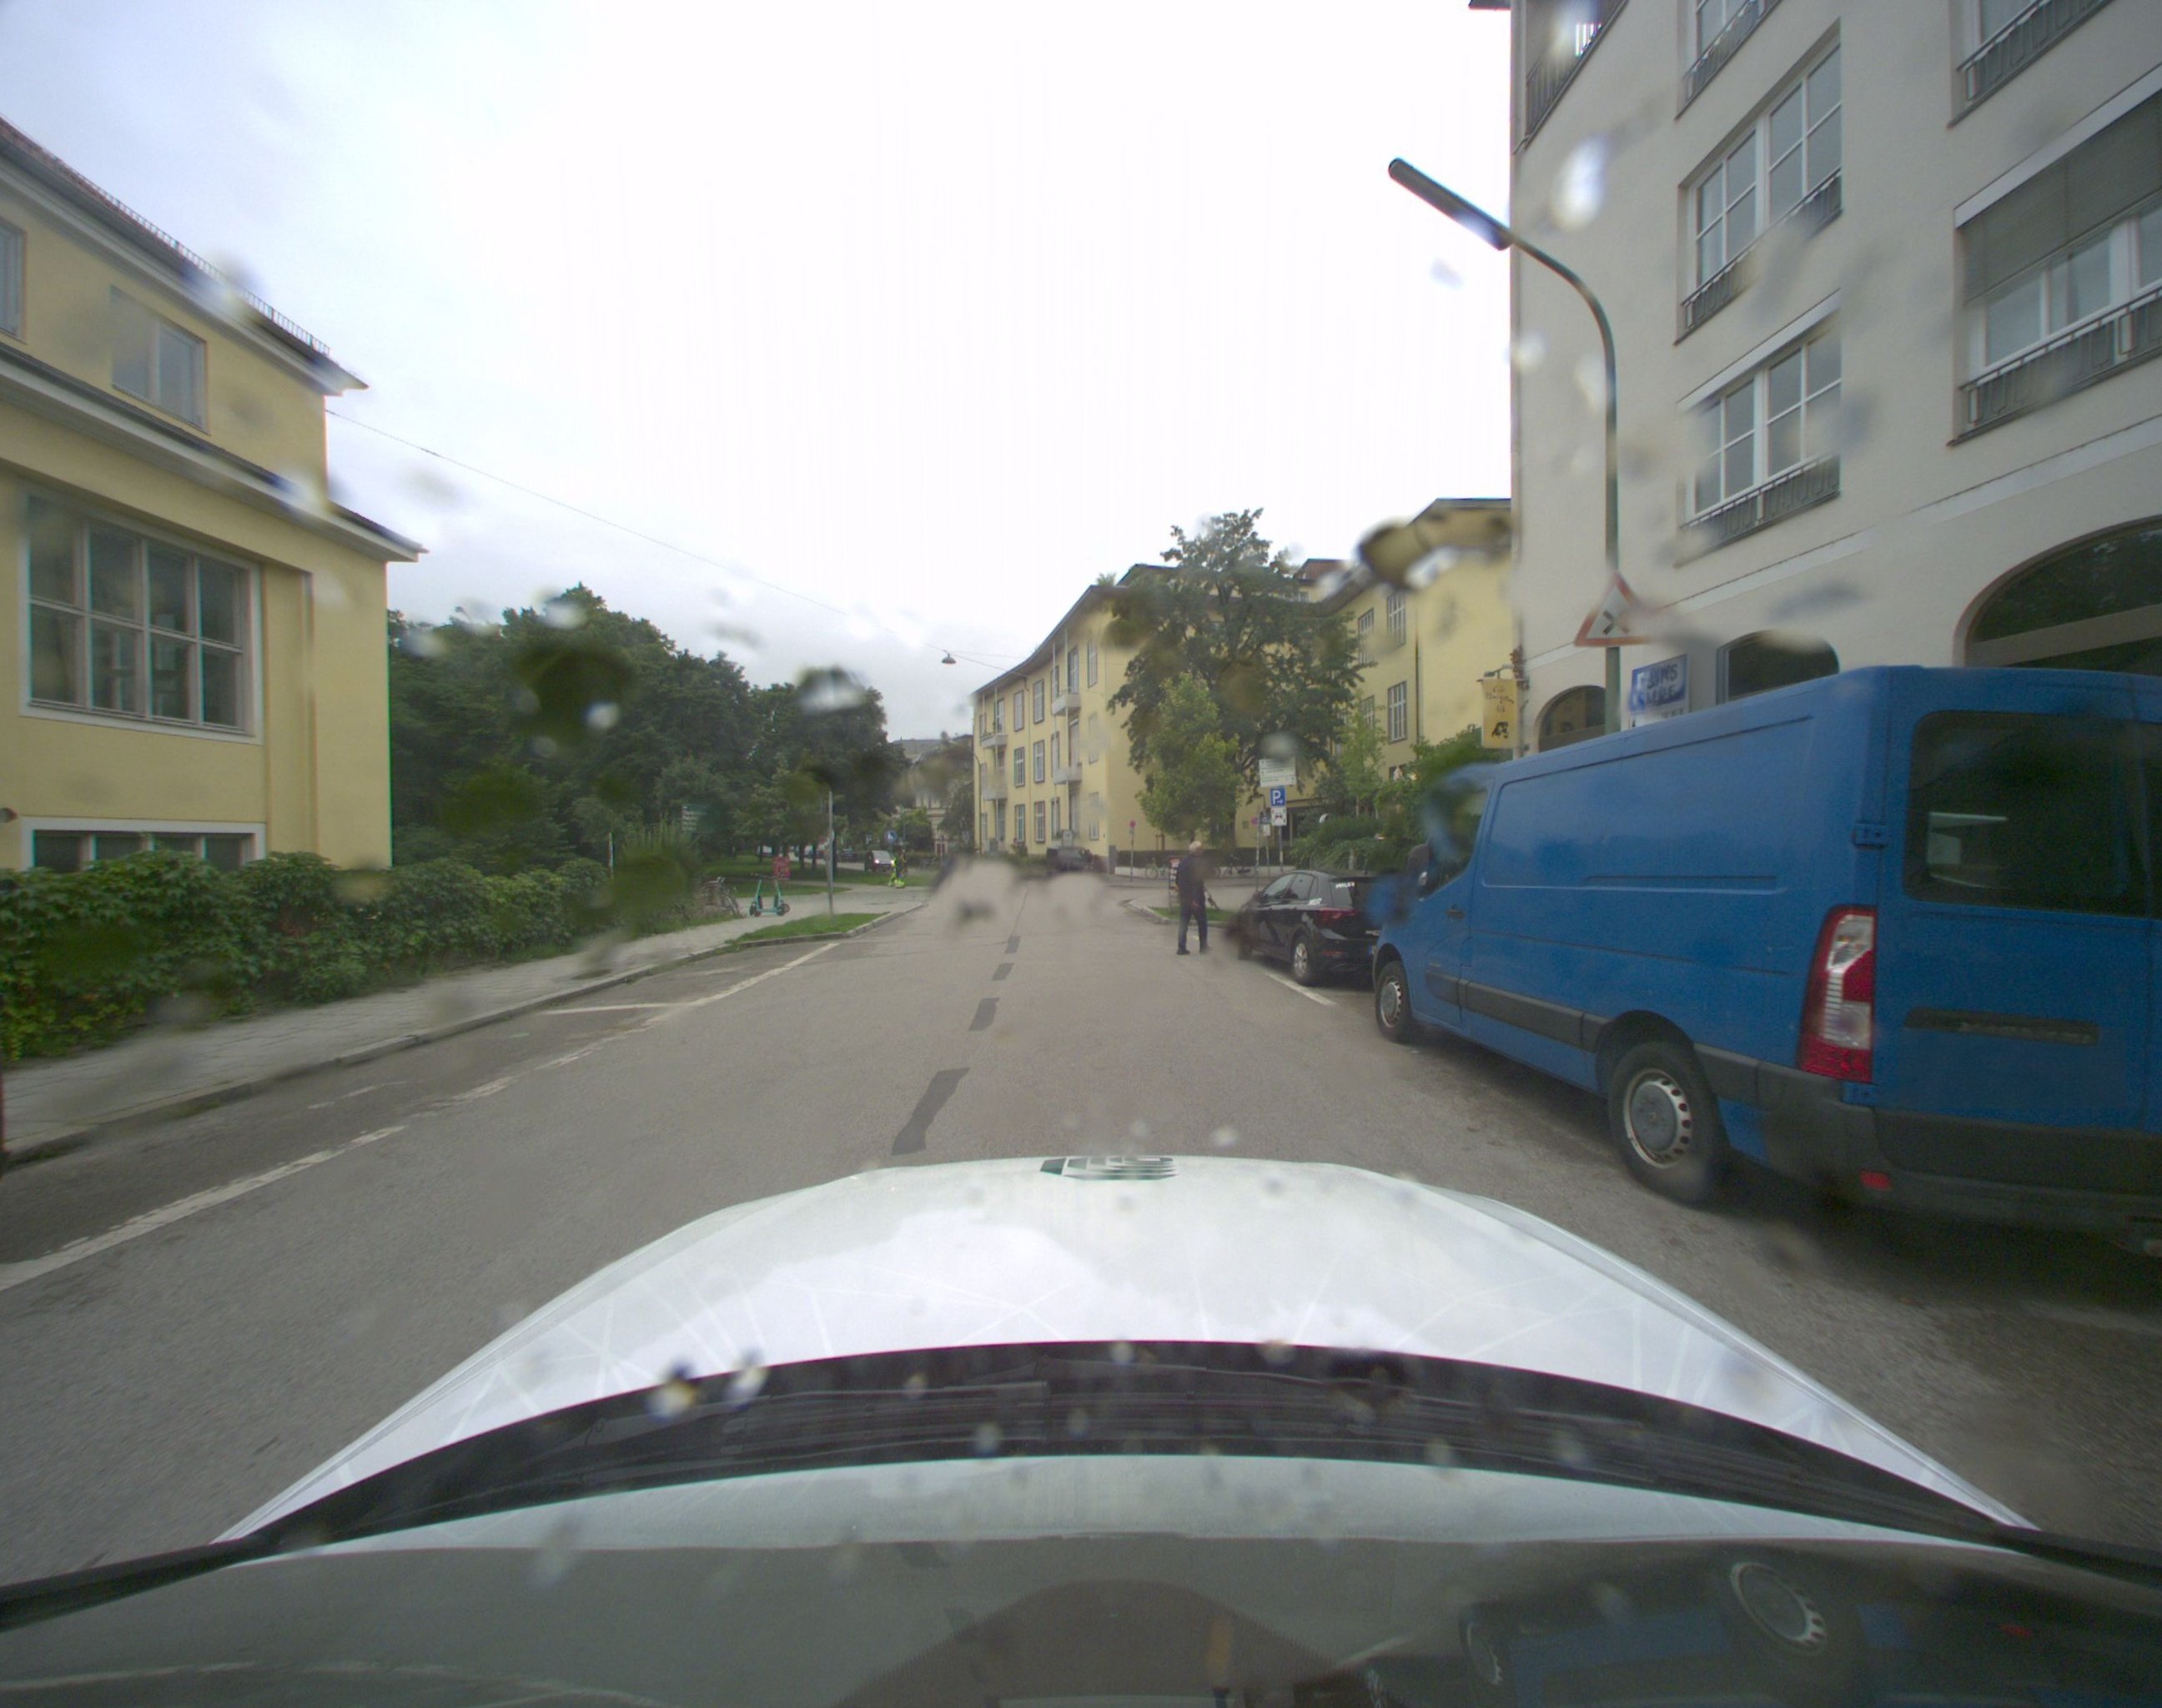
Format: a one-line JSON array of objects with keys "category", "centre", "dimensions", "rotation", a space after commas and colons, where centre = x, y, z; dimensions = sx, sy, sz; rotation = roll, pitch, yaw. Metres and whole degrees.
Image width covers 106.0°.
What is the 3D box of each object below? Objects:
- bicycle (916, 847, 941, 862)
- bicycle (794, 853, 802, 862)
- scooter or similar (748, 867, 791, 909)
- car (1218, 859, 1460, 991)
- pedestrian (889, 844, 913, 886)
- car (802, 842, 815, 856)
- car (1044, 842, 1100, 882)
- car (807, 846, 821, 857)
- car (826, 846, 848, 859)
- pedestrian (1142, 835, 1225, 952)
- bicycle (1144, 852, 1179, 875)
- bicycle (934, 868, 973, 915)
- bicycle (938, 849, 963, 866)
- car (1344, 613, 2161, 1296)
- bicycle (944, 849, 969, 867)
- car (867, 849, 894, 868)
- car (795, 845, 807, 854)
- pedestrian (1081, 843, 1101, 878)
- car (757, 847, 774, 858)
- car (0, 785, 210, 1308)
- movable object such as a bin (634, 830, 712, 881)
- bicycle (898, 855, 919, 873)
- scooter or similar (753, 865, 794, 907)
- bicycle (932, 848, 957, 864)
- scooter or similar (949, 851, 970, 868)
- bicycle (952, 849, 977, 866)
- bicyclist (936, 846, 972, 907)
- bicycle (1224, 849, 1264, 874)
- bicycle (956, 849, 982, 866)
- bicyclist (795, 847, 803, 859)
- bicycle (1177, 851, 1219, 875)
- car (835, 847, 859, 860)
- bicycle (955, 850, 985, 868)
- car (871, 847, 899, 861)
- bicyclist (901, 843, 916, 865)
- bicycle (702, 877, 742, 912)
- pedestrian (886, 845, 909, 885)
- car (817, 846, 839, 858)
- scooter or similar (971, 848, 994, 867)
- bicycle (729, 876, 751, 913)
[{"category": "bicycle", "centre": [-13.626, 0.039, 72.732], "dimensions": [2.156, 1.305, 0.729], "rotation": [-1, 1, -20]}, {"category": "bicycle", "centre": [-35.119, 0.433, 101.162], "dimensions": [0.643, 0.967, 1.978], "rotation": [-1, 1, -27]}, {"category": "scooter or similar", "centre": [-9.006, 0.981, 23.520], "dimensions": [1.109, 1.188, 0.346], "rotation": [0, 1, 7]}, {"category": "car", "centre": [3.369, 0.845, 11.589], "dimensions": [1.675, 1.389, 4.297], "rotation": [3, 0, -6]}, {"category": "pedestrian", "centre": [-8.859, 0.540, 40.112], "dimensions": [0.928, 2.013, 0.957], "rotation": [-1, 1, 1]}, {"category": "car", "centre": [-45.206, -0.795, 134.980], "dimensions": [2.000, 2.159, 3.973], "rotation": [-1, 0, -20]}, {"category": "car", "centre": [-0.548, 0.364, 42.566], "dimensions": [1.766, 1.874, 4.356], "rotation": [3, 0, -16]}, {"category": "car", "centre": [-41.506, -0.406, 126.624], "dimensions": [2.000, 1.606, 3.973], "rotation": [-1, 0, -20]}, {"category": "car", "centre": [-32.369, -0.164, 107.988], "dimensions": [2.006, 1.606, 3.962], "rotation": [-1, 0, -29]}, {"category": "pedestrian", "centre": [1.669, 0.608, 13.244], "dimensions": [0.962, 1.800, 0.924], "rotation": [-1, 0, -40]}, {"category": "bicycle", "centre": [4.250, 0.501, 43.062], "dimensions": [1.904, 1.201, 0.599], "rotation": [0, 1, 43]}, {"category": "bicycle", "centre": [-3.415, 0.994, 21.984], "dimensions": [0.667, 1.158, 2.004], "rotation": [-1, 0, 2]}, {"category": "bicycle", "centre": [-10.428, 0.280, 65.267], "dimensions": [0.725, 1.305, 2.170], "rotation": [0, 1, 33]}, {"category": "car", "centre": [3.660, 0.404, 5.366], "dimensions": [2.072, 2.234, 5.243], "rotation": [3, -1, 0]}, {"category": "bicycle", "centre": [-9.857, 0.309, 64.604], "dimensions": [0.725, 1.305, 2.170], "rotation": [0, 1, 33]}, {"category": "car", "centre": [-16.716, 0.376, 67.771], "dimensions": [1.920, 1.471, 3.975], "rotation": [-1, 1, -19]}, {"category": "car", "centre": [-49.955, -0.815, 145.373], "dimensions": [2.000, 1.606, 3.973], "rotation": [-1, 0, -20]}, {"category": "pedestrian", "centre": [0.535, 0.322, 42.671], "dimensions": [0.876, 1.823, 0.794], "rotation": [-1, 1, -15]}, {"category": "car", "centre": [-47.884, -0.227, 123.520], "dimensions": [2.005, 1.691, 3.964], "rotation": [-1, 1, -27]}, {"category": "car", "centre": [-5.156, 0.789, 1.091], "dimensions": [2.066, 1.964, 5.350], "rotation": [-3, 0, 1]}, {"category": "movable object such as a bin", "centre": [-26.827, 0.032, 53.662], "dimensions": [1.974, 3.213, 4.026], "rotation": [-1, 1, 32]}, {"category": "bicycle", "centre": [-12.316, 0.680, 58.085], "dimensions": [0.748, 1.215, 2.123], "rotation": [-2, 1, -31]}, {"category": "scooter or similar", "centre": [-9.166, 0.951, 24.299], "dimensions": [0.341, 1.188, 1.126], "rotation": [0, 1, 35]}, {"category": "bicycle", "centre": [-11.210, 0.154, 66.970], "dimensions": [0.725, 1.305, 2.170], "rotation": [0, 1, 33]}, {"category": "scooter or similar", "centre": [-9.534, 0.431, 64.051], "dimensions": [0.725, 1.305, 1.741], "rotation": [0, 1, 29]}, {"category": "bicycle", "centre": [-9.104, 0.250, 63.691], "dimensions": [0.725, 1.305, 2.170], "rotation": [0, 1, 33]}, {"category": "bicyclist", "centre": [-3.425, 0.582, 22.019], "dimensions": [0.861, 1.607, 0.946], "rotation": [-1, 0, -4]}, {"category": "bicycle", "centre": [8.275, 0.384, 41.451], "dimensions": [1.915, 1.201, 0.595], "rotation": [-1, 1, 1]}, {"category": "bicycle", "centre": [-8.660, 0.266, 62.860], "dimensions": [0.725, 1.305, 2.170], "rotation": [0, 1, 33]}, {"category": "bicyclist", "centre": [-35.053, -0.147, 101.191], "dimensions": [0.799, 1.470, 0.885], "rotation": [-1, 1, -27]}, {"category": "bicycle", "centre": [5.997, 0.457, 41.698], "dimensions": [2.050, 1.201, 0.598], "rotation": [0, 1, 19]}, {"category": "car", "centre": [-29.662, -0.103, 103.097], "dimensions": [2.006, 1.606, 3.962], "rotation": [-1, 0, -29]}, {"category": "bicycle", "centre": [-8.247, 0.356, 60.773], "dimensions": [2.167, 1.305, 0.726], "rotation": [-1, 1, -40]}, {"category": "car", "centre": [-20.647, 0.000, 85.740], "dimensions": [2.005, 1.372, 3.964], "rotation": [-1, 1, -27]}, {"category": "bicyclist", "centre": [-12.335, 0.001, 58.088], "dimensions": [0.748, 1.521, 0.936], "rotation": [-2, 1, -31]}, {"category": "bicycle", "centre": [-10.700, 1.186, 24.242], "dimensions": [1.563, 0.990, 0.303], "rotation": [-1, 1, 36]}, {"category": "pedestrian", "centre": [-9.349, 0.546, 41.521], "dimensions": [0.928, 2.013, 0.957], "rotation": [-1, 1, 1]}, {"category": "car", "centre": [-35.096, -0.224, 112.874], "dimensions": [2.006, 1.606, 3.962], "rotation": [-1, 0, -29]}, {"category": "scooter or similar", "centre": [-7.257, 0.240, 59.914], "dimensions": [0.726, 1.305, 2.167], "rotation": [-1, 1, 21]}, {"category": "bicycle", "centre": [-9.664, 1.141, 23.062], "dimensions": [0.544, 0.974, 1.146], "rotation": [-1, 0, -23]}]
